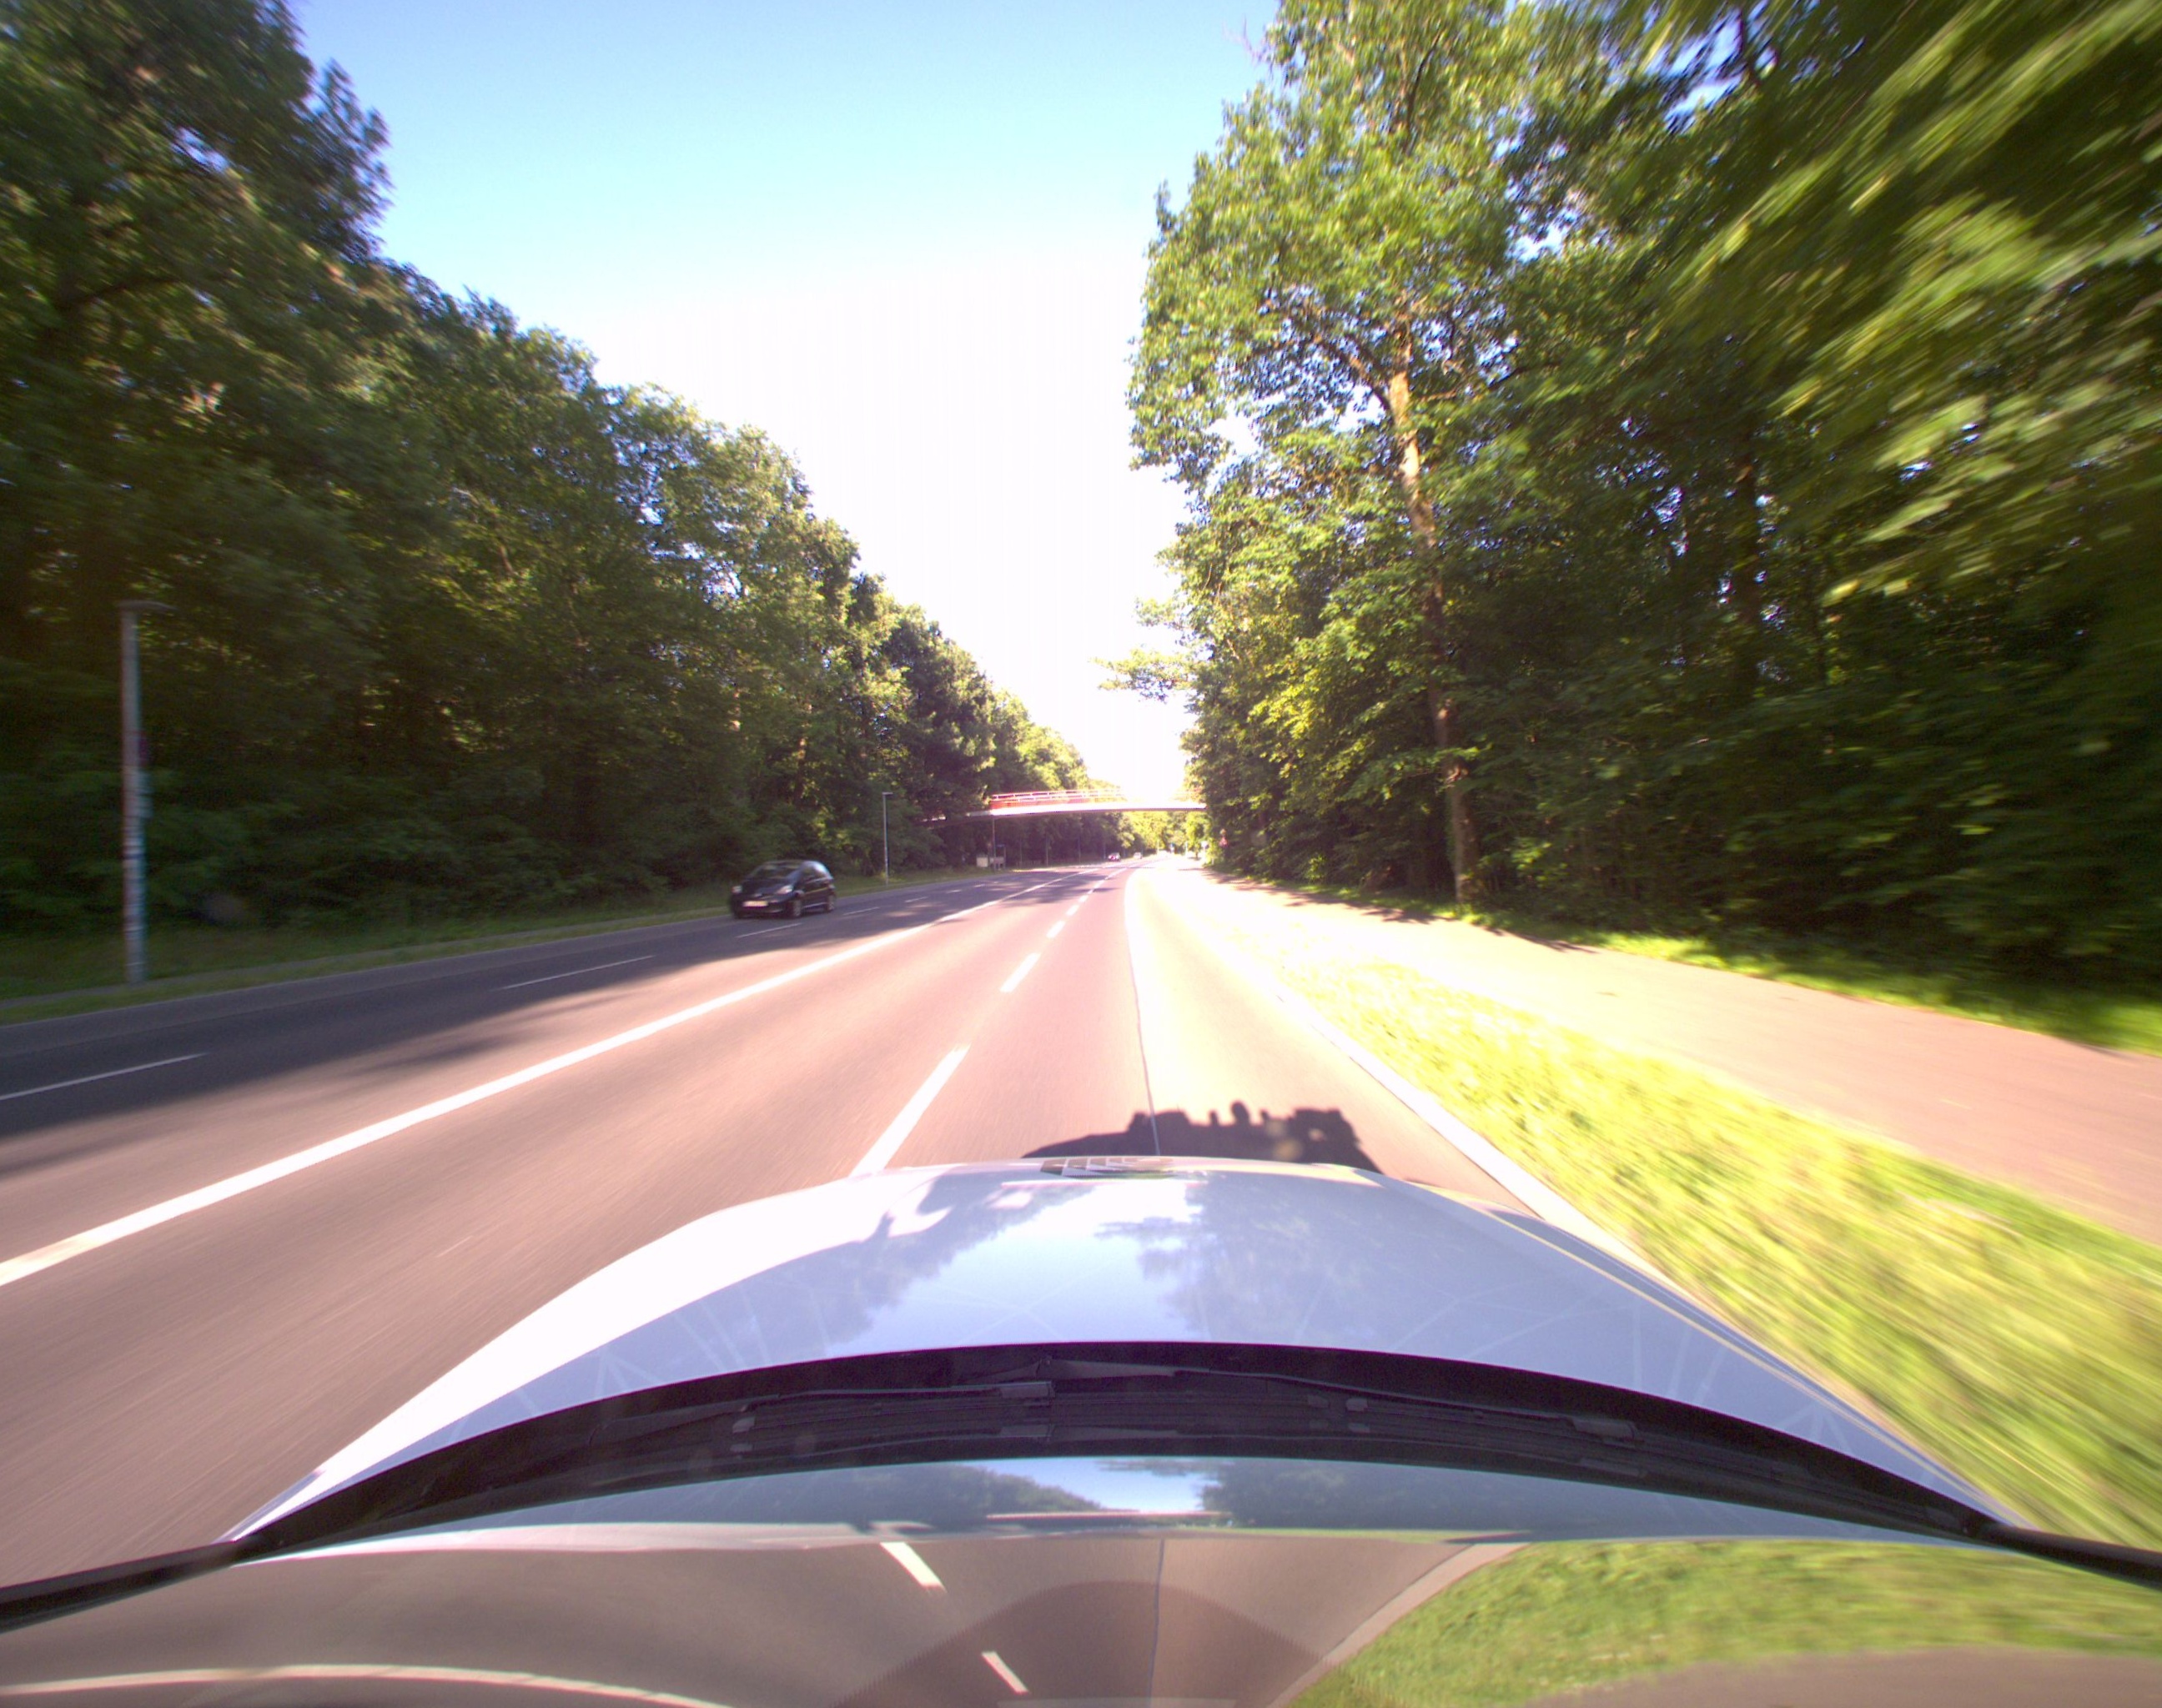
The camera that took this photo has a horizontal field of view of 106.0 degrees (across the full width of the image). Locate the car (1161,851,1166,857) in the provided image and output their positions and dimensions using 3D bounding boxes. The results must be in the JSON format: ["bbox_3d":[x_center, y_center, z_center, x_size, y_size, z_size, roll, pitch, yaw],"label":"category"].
[{"bbox_3d":[24.815,-0.134,244.906,1.697,1.709,4.007,-1,0,6],"label":"car"}]

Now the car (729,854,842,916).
[{"bbox_3d":[-7.554,0.735,21.132,1.489,1.444,3.503,0,0,3],"label":"car"}]

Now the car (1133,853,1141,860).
[{"bbox_3d":[13.257,0.493,193.556,1.713,1.574,4.185,1,0,7],"label":"car"}]

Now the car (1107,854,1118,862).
[{"bbox_3d":[5.968,0.725,154.854,1.752,1.582,4.176,0,0,6],"label":"car"}]
